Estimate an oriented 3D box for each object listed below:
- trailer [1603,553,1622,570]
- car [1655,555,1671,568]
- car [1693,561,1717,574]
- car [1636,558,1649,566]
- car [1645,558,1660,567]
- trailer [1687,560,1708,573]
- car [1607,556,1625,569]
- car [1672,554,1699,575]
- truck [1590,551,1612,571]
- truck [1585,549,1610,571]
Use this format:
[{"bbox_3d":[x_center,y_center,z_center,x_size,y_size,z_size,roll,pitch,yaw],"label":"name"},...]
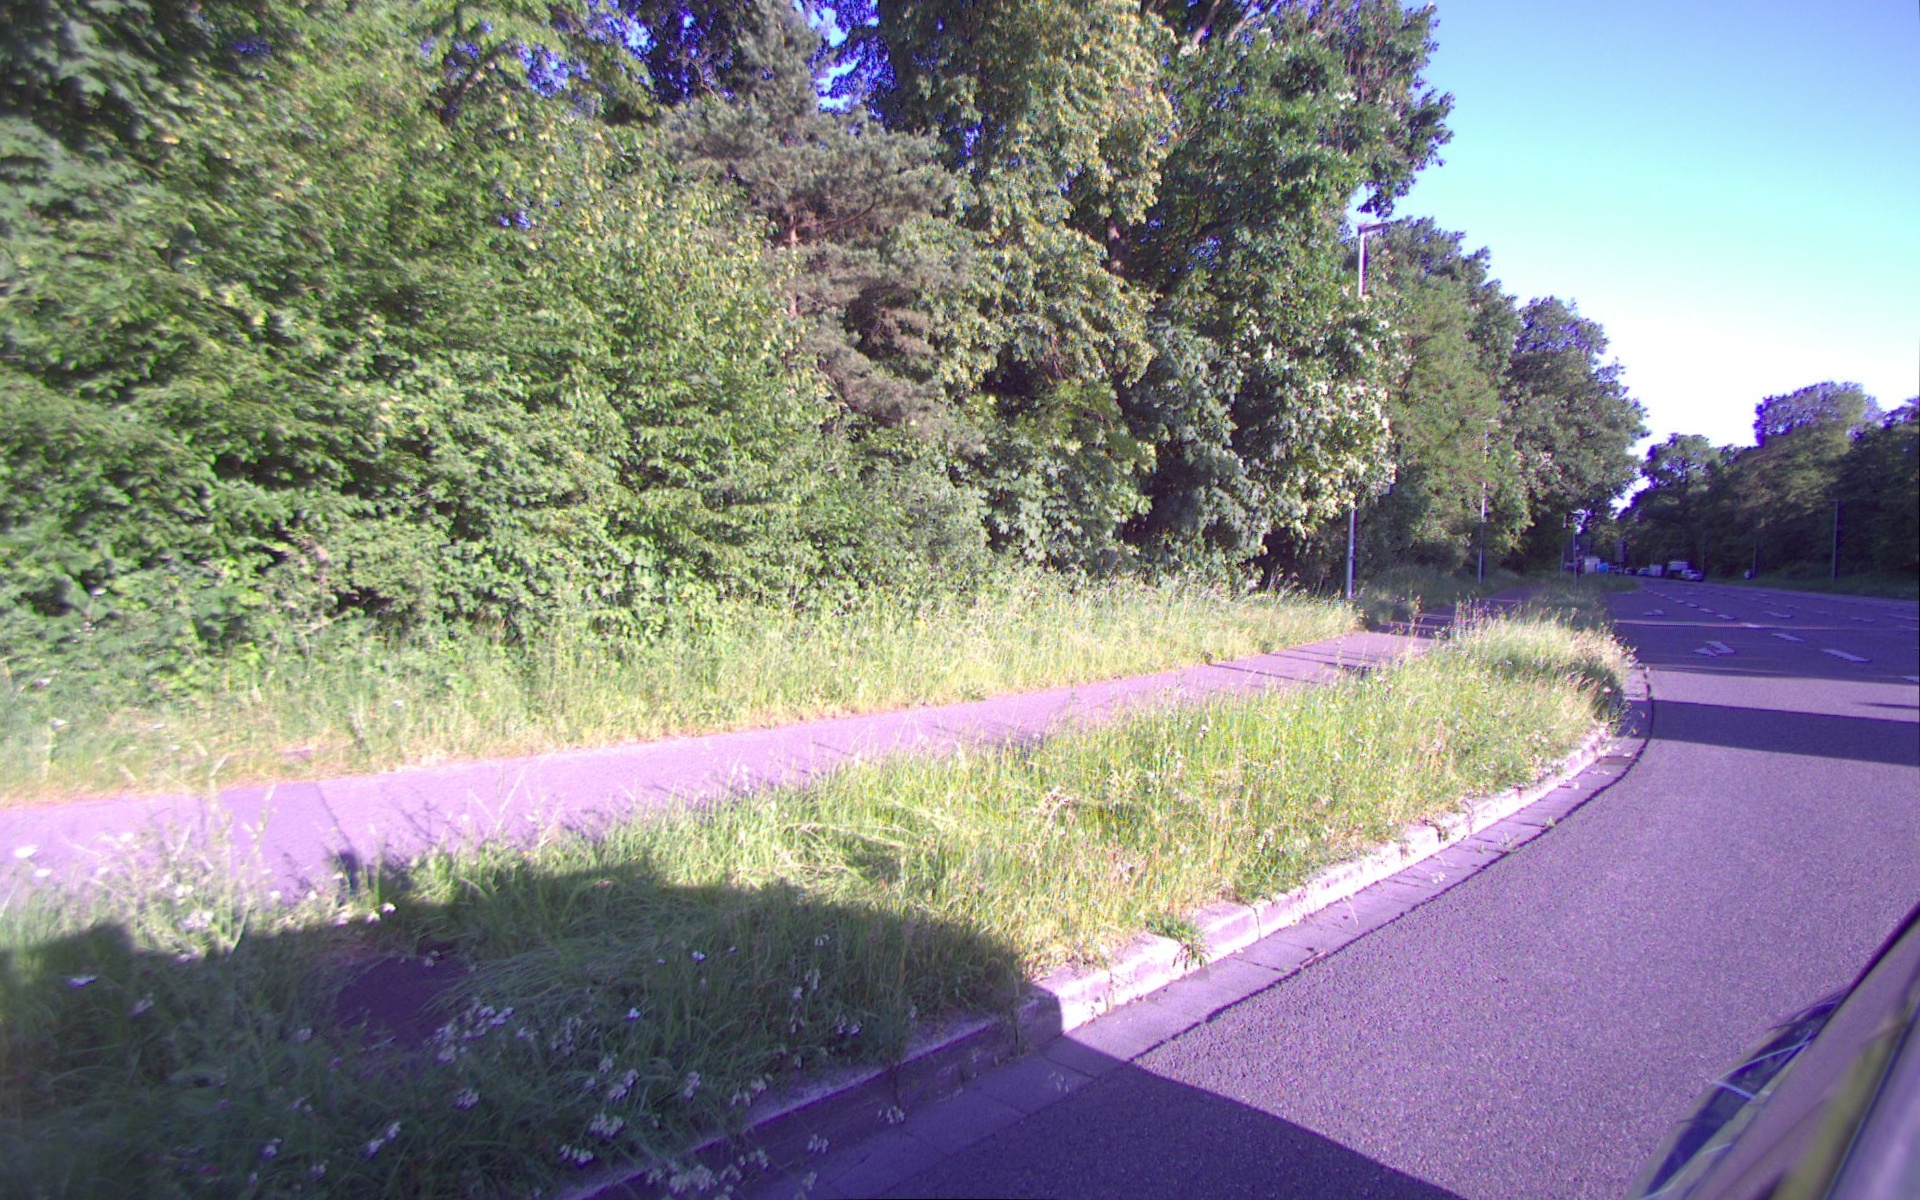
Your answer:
[{"bbox_3d":[87.930,-5.226,136.394,1.854,2.204,4.089,1,3,29],"label":"trailer"},{"bbox_3d":[123.158,-6.692,177.419,1.678,2.126,4.588,4,4,28],"label":"car"},{"bbox_3d":[99.373,-4.354,135.003,1.899,1.481,3.973,4,4,28],"label":"car"},{"bbox_3d":[136.383,-7.658,202.255,1.792,1.522,3.875,4,4,28],"label":"car"},{"bbox_3d":[128.908,-7.019,188.451,1.792,1.522,3.875,4,4,28],"label":"car"},{"bbox_3d":[101.714,-4.625,139.586,1.792,1.750,3.612,4,4,28],"label":"trailer"},{"bbox_3d":[108.100,-6.157,166.719,1.981,2.038,3.964,2,3,27],"label":"car"},{"bbox_3d":[107.312,-5.254,149.768,2.441,2.881,4.753,4,4,29],"label":"car"},{"bbox_3d":[96.229,-5.855,152.063,2.370,2.907,5.545,0,2,29],"label":"truck"},{"bbox_3d":[101.184,-6.453,160.775,2.684,3.275,7.060,4,4,28],"label":"truck"}]
